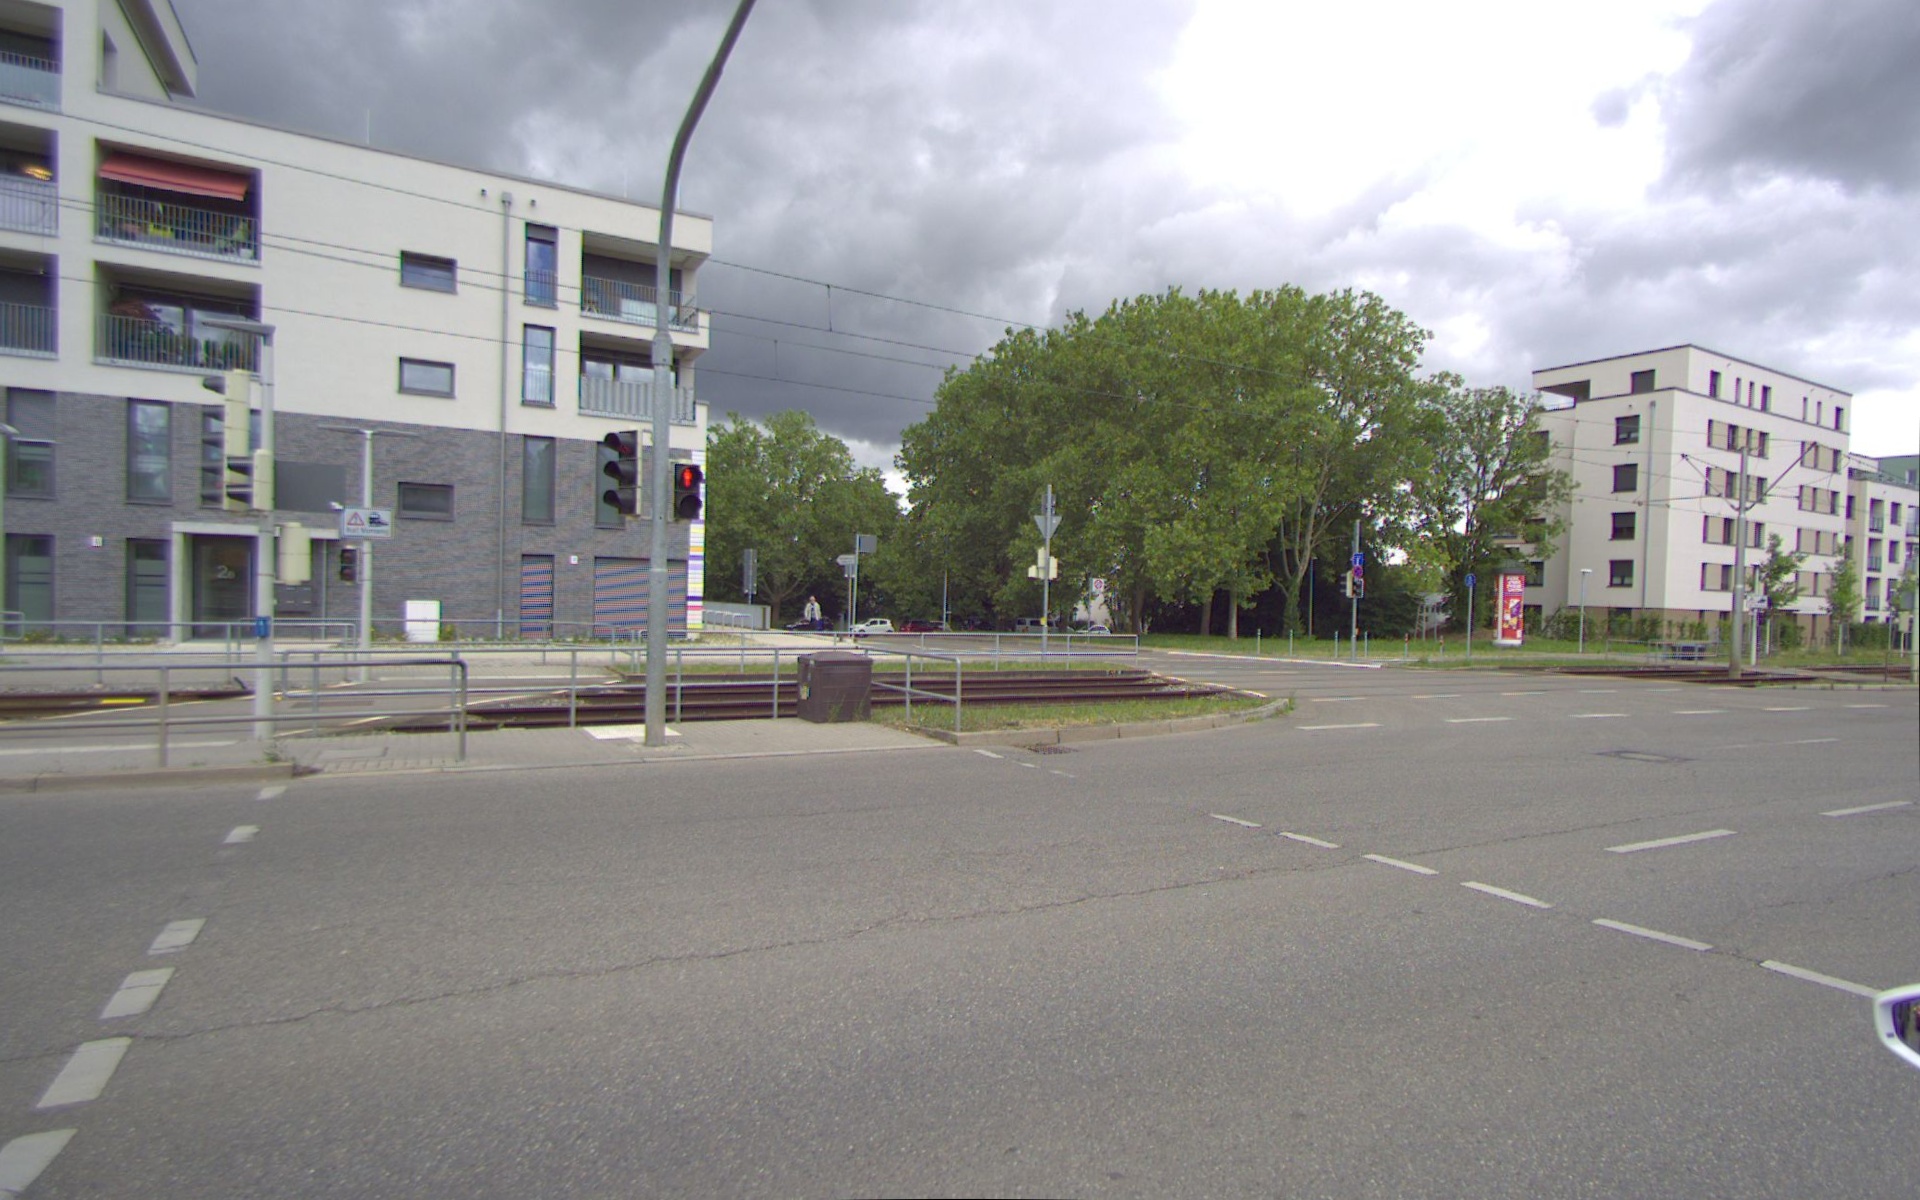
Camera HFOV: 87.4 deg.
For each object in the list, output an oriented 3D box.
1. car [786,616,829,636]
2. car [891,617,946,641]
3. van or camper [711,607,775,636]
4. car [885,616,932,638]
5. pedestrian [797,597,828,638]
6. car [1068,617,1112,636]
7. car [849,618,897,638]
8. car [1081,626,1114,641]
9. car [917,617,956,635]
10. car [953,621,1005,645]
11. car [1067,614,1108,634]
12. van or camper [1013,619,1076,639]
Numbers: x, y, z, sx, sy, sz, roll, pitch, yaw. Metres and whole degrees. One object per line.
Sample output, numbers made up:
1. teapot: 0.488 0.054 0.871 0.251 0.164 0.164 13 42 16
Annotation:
1. car: -11.991 2.066 79.038 3.094 1.522 1.596 1 0 -22
2. car: -3.149 2.223 76.322 3.739 1.684 1.652 3 0 -29
3. van or camper: -16.659 1.652 77.197 4.494 2.051 2.037 1 0 -22
4. car: -4.378 2.295 85.661 3.580 1.684 1.653 3 0 -27
5. pedestrian: -6.256 0.733 42.549 0.982 1.692 0.847 2 0 -34
6. car: 11.916 2.429 91.749 3.767 1.671 1.685 1 0 -32
7. car: -7.072 2.251 81.590 3.544 1.557 1.864 1 0 -22
8. car: 13.993 3.407 102.126 3.081 1.362 1.446 1 0 -6
9. car: -2.281 2.528 97.970 3.381 1.586 1.665 2 0 17
10. car: 1.518 2.616 79.698 3.741 1.684 1.651 3 0 -30
11. car: 12.469 2.378 98.278 3.715 1.752 1.663 2 0 -6
12. van or camper: 6.971 2.395 82.523 4.944 1.553 1.851 2 0 -28
